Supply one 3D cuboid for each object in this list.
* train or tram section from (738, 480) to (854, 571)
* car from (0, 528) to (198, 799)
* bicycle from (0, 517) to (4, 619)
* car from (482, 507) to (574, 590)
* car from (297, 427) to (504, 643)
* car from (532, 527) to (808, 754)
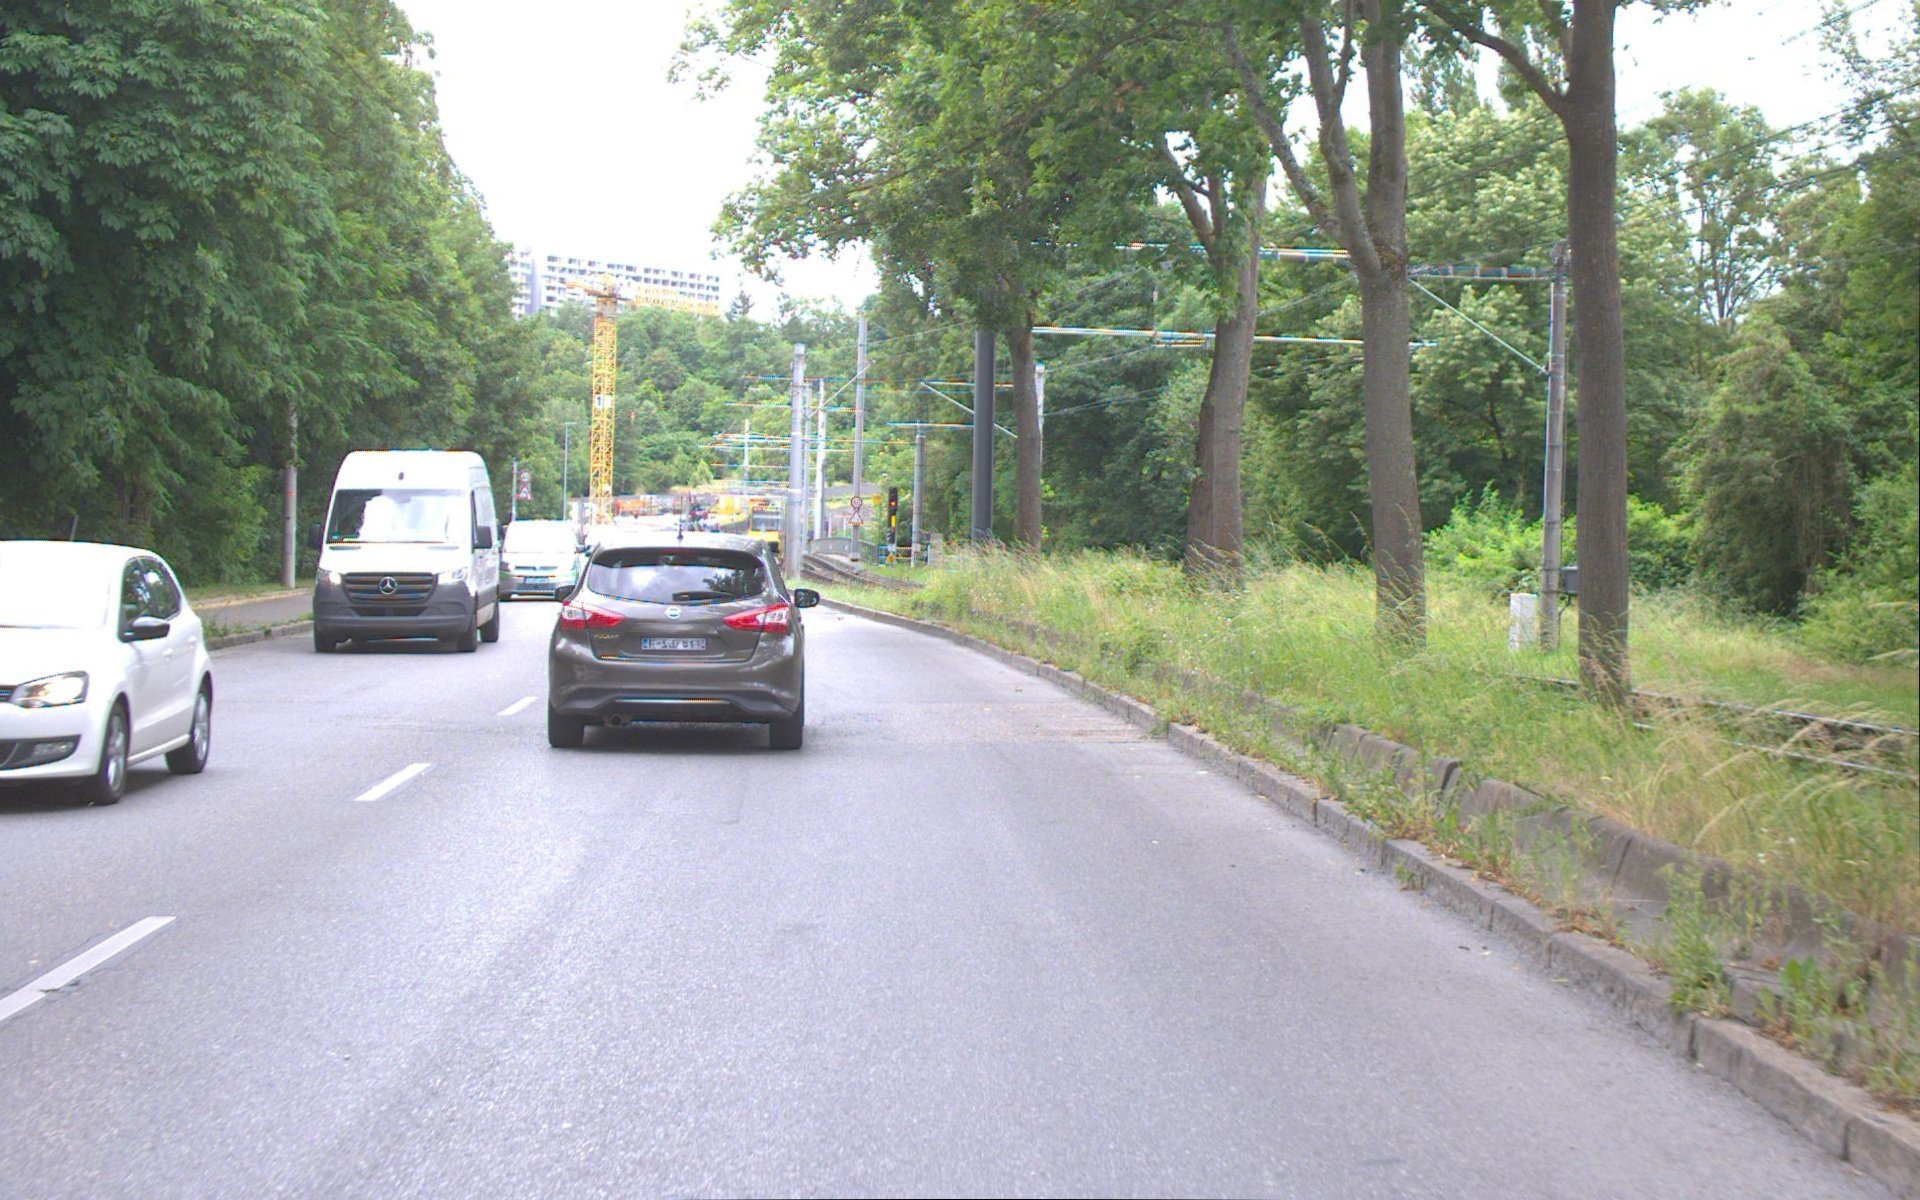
[{"bbox_3d":[-11.100,-4.838,228.815,3.027,5.165,23.061,3,-1,-14],"label":"train or tram section"},{"bbox_3d":[-5.583,0.302,20.057,1.724,1.423,4.001,1,1,-5],"label":"car"},{"bbox_3d":[-10.437,-0.204,35.664,0.698,1.327,2.281,3,1,-9],"label":"bicycle"},{"bbox_3d":[-9.674,-1.183,77.228,1.856,1.793,4.558,0,1,-5],"label":"car"},{"bbox_3d":[-7.218,-0.864,44.916,1.993,2.617,5.895,0,1,-3],"label":"car"},{"bbox_3d":[-2.155,0.240,25.115,1.829,1.504,4.001,1,1,-6],"label":"car"}]
